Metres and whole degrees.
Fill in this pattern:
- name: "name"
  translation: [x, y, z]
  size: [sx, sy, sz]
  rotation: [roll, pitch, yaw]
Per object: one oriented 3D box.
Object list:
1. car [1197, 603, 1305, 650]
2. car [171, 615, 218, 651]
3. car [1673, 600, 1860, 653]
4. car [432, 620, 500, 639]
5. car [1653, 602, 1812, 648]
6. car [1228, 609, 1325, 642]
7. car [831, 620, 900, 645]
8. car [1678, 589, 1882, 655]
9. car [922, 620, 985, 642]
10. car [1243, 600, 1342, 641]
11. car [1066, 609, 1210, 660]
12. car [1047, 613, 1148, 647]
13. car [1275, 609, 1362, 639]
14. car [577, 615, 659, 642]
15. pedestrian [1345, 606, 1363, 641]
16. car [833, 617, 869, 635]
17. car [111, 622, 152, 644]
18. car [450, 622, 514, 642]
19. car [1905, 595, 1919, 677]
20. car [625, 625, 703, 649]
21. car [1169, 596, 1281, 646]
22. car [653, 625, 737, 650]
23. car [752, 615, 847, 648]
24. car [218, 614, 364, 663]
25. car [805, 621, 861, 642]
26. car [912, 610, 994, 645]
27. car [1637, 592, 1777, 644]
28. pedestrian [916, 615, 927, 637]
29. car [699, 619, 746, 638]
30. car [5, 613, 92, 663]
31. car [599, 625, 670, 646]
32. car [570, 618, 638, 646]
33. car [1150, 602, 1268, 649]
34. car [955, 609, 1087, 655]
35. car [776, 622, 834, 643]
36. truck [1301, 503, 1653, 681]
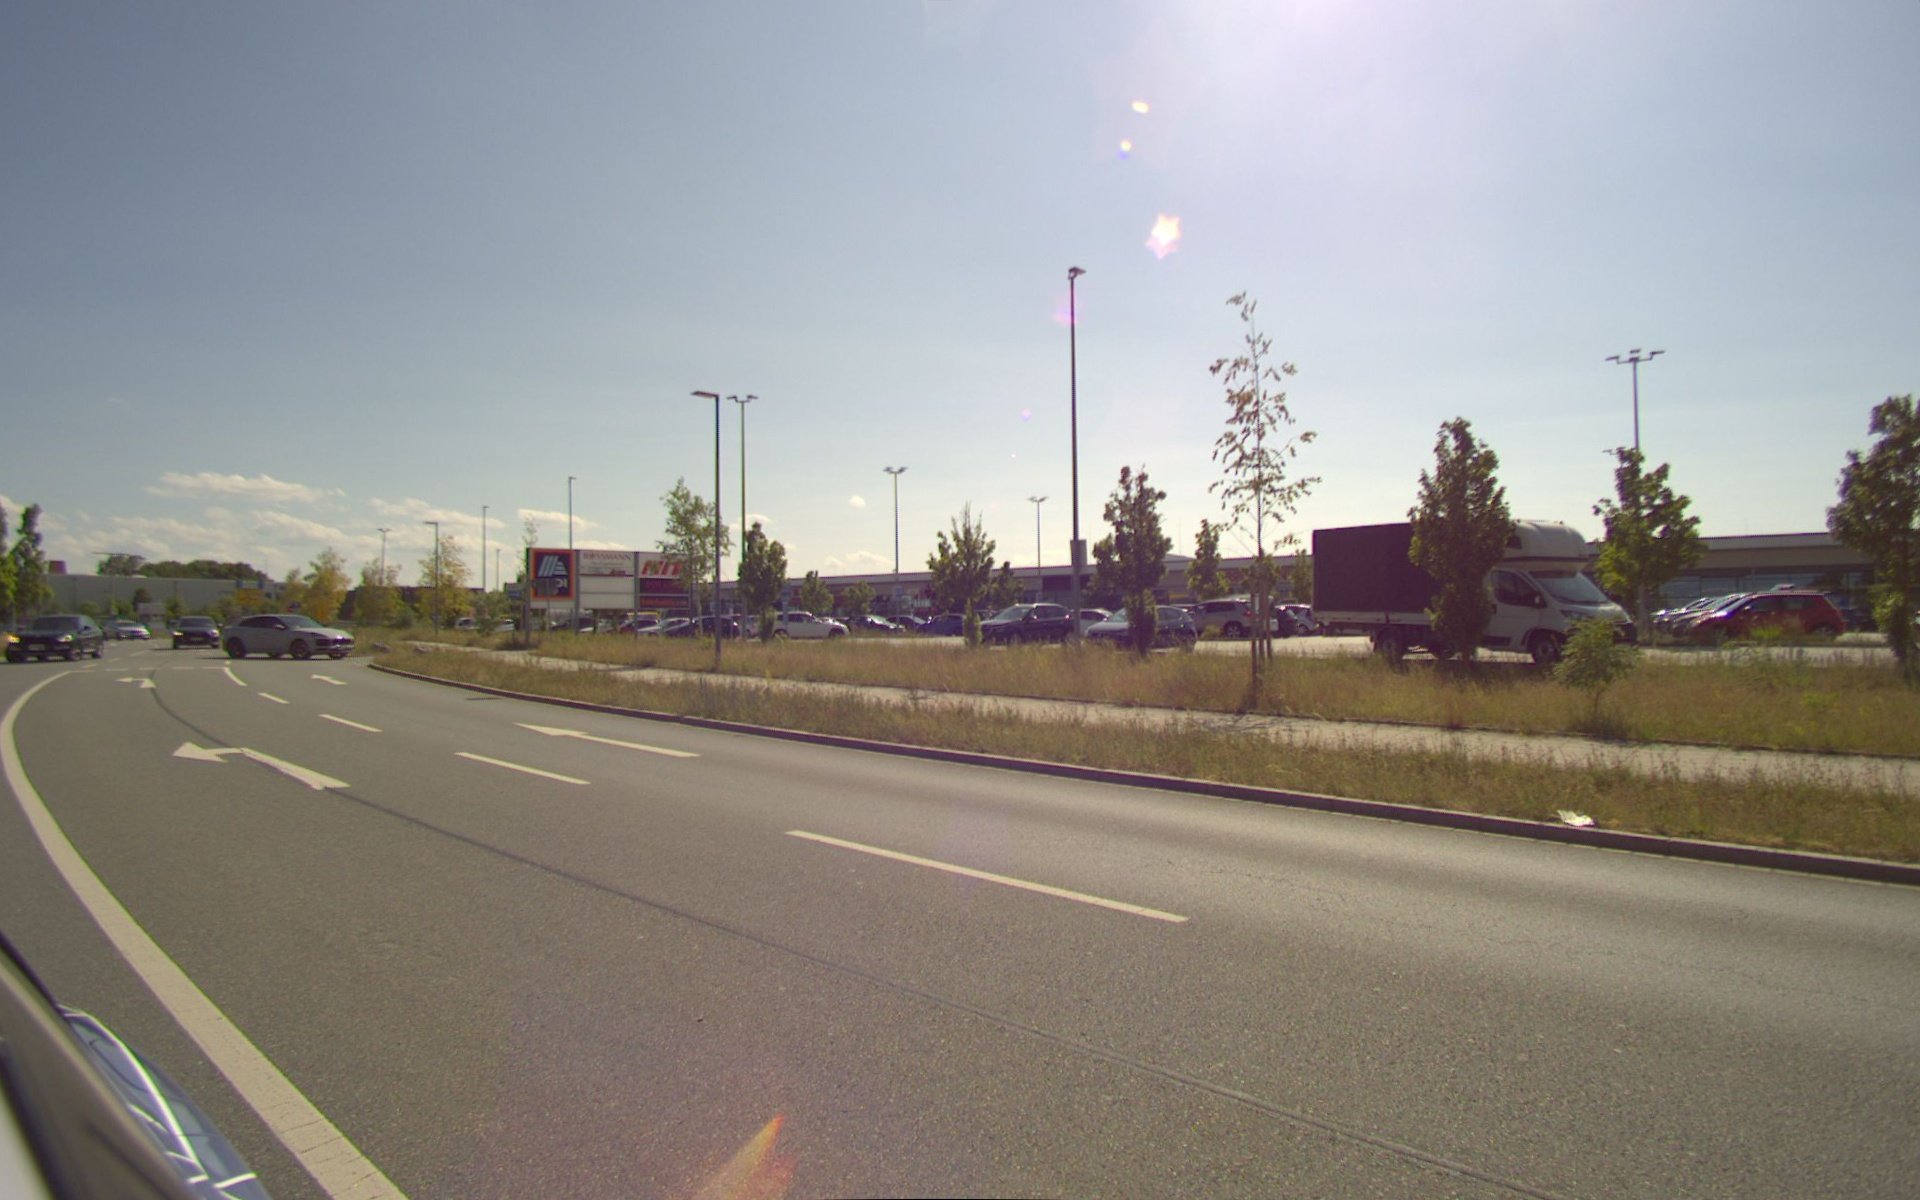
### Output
- name: "car"
  translation: [13.189, 1.202, 46.002]
  size: [4.370, 2.013, 1.817]
  rotation: [-1, -2, 34]
- name: "car"
  translation: [-37.747, 1.624, 49.951]
  size: [1.729, 1.700, 4.391]
  rotation: [1, -2, -36]
- name: "car"
  translation: [25.338, 0.848, 32.012]
  size: [4.366, 1.574, 1.819]
  rotation: [-1, -2, 31]
- name: "car"
  translation: [-44.381, 2.683, 91.047]
  size: [1.998, 1.685, 5.128]
  rotation: [-2, -2, 39]
- name: "car"
  translation: [27.910, 0.911, 36.779]
  size: [4.366, 1.574, 1.819]
  rotation: [-1, -2, 31]
- name: "car"
  translation: [15.953, 1.294, 51.081]
  size: [4.370, 1.594, 1.817]
  rotation: [-1, -2, 34]
- name: "car"
  translation: [-6.058, 2.099, 64.686]
  size: [4.340, 1.528, 1.698]
  rotation: [-2, -2, 32]
- name: "car"
  translation: [23.712, 0.641, 29.505]
  size: [4.366, 1.787, 1.819]
  rotation: [-1, -2, 31]
- name: "car"
  translation: [-0.494, 2.295, 73.854]
  size: [4.340, 1.556, 1.698]
  rotation: [-2, -2, 32]
- name: "car"
  translation: [17.451, 1.095, 53.187]
  size: [4.621, 2.040, 1.817]
  rotation: [-1, -2, 34]
- name: "car"
  translation: [5.317, 0.980, 29.934]
  size: [4.370, 1.394, 1.977]
  rotation: [1, -2, -43]
- name: "car"
  translation: [6.413, 1.394, 47.534]
  size: [4.370, 1.523, 1.817]
  rotation: [-1, -2, 34]
- name: "car"
  translation: [20.327, 1.366, 57.471]
  size: [4.370, 1.680, 1.817]
  rotation: [-1, -2, 34]
- name: "car"
  translation: [-25.954, 2.159, 76.908]
  size: [2.001, 1.980, 5.617]
  rotation: [-2, -3, 44]
- name: "pedestrian"
  translation: [19.750, 1.181, 50.742]
  size: [0.718, 1.762, 0.653]
  rotation: [-1, -2, 34]
- name: "car"
  translation: [-11.267, 2.711, 104.809]
  size: [1.709, 1.821, 4.314]
  rotation: [-1, -2, 27]
- name: "car"
  translation: [-60.391, 2.390, 73.740]
  size: [4.002, 1.522, 1.880]
  rotation: [-2, -2, 45]
- name: "car"
  translation: [-41.072, 2.760, 87.056]
  size: [2.001, 1.685, 4.537]
  rotation: [-2, -3, 45]
- name: "car"
  translation: [18.554, 0.660, 18.121]
  size: [1.835, 1.564, 4.328]
  rotation: [-1, -2, 36]
- name: "car"
  translation: [-17.686, 2.187, 60.574]
  size: [4.090, 1.358, 1.940]
  rotation: [1, -2, -37]
- name: "car"
  translation: [11.523, 0.915, 44.073]
  size: [4.370, 2.080, 1.817]
  rotation: [-1, -2, 34]
- name: "car"
  translation: [-14.808, 2.084, 56.611]
  size: [4.090, 1.358, 1.940]
  rotation: [1, -2, -37]
- name: "car"
  translation: [-7.739, 1.499, 48.821]
  size: [4.152, 1.559, 1.924]
  rotation: [0, -1, -25]
- name: "car"
  translation: [-25.422, 1.466, 38.503]
  size: [4.734, 1.656, 2.105]
  rotation: [-3, -2, 16]
- name: "car"
  translation: [-10.148, 2.511, 80.649]
  size: [4.340, 1.584, 1.698]
  rotation: [-2, -2, 32]
- name: "car"
  translation: [-0.450, 1.667, 61.016]
  size: [4.819, 2.001, 1.698]
  rotation: [-2, -2, 32]
- name: "car"
  translation: [30.432, 0.753, 41.404]
  size: [4.366, 2.009, 1.819]
  rotation: [-1, -2, 31]
- name: "pedestrian"
  translation: [-3.227, 2.186, 84.984]
  size: [0.779, 1.837, 0.564]
  rotation: [-1, -2, 34]
- name: "car"
  translation: [-22.206, 2.685, 94.484]
  size: [4.573, 1.754, 1.697]
  rotation: [-2, -2, 35]
- name: "car"
  translation: [-32.746, 1.399, 36.470]
  size: [1.871, 1.692, 4.477]
  rotation: [0, -3, -36]
- name: "car"
  translation: [-21.622, 2.354, 67.200]
  size: [4.090, 1.358, 1.940]
  rotation: [1, -2, -37]
- name: "car"
  translation: [-24.904, 2.248, 70.839]
  size: [4.091, 1.875, 1.936]
  rotation: [1, -2, -39]
- name: "car"
  translation: [10.207, 1.054, 41.630]
  size: [4.370, 1.837, 1.817]
  rotation: [-1, -2, 34]
- name: "car"
  translation: [2.118, 1.056, 34.186]
  size: [4.520, 1.469, 1.840]
  rotation: [1, -2, -43]
- name: "car"
  translation: [-11.956, 2.485, 77.936]
  size: [4.340, 1.561, 1.698]
  rotation: [-2, -2, 32]
- name: "truck"
  translation: [11.594, -0.081, 23.730]
  size: [2.284, 3.491, 7.518]
  rotation: [0, -1, -24]
